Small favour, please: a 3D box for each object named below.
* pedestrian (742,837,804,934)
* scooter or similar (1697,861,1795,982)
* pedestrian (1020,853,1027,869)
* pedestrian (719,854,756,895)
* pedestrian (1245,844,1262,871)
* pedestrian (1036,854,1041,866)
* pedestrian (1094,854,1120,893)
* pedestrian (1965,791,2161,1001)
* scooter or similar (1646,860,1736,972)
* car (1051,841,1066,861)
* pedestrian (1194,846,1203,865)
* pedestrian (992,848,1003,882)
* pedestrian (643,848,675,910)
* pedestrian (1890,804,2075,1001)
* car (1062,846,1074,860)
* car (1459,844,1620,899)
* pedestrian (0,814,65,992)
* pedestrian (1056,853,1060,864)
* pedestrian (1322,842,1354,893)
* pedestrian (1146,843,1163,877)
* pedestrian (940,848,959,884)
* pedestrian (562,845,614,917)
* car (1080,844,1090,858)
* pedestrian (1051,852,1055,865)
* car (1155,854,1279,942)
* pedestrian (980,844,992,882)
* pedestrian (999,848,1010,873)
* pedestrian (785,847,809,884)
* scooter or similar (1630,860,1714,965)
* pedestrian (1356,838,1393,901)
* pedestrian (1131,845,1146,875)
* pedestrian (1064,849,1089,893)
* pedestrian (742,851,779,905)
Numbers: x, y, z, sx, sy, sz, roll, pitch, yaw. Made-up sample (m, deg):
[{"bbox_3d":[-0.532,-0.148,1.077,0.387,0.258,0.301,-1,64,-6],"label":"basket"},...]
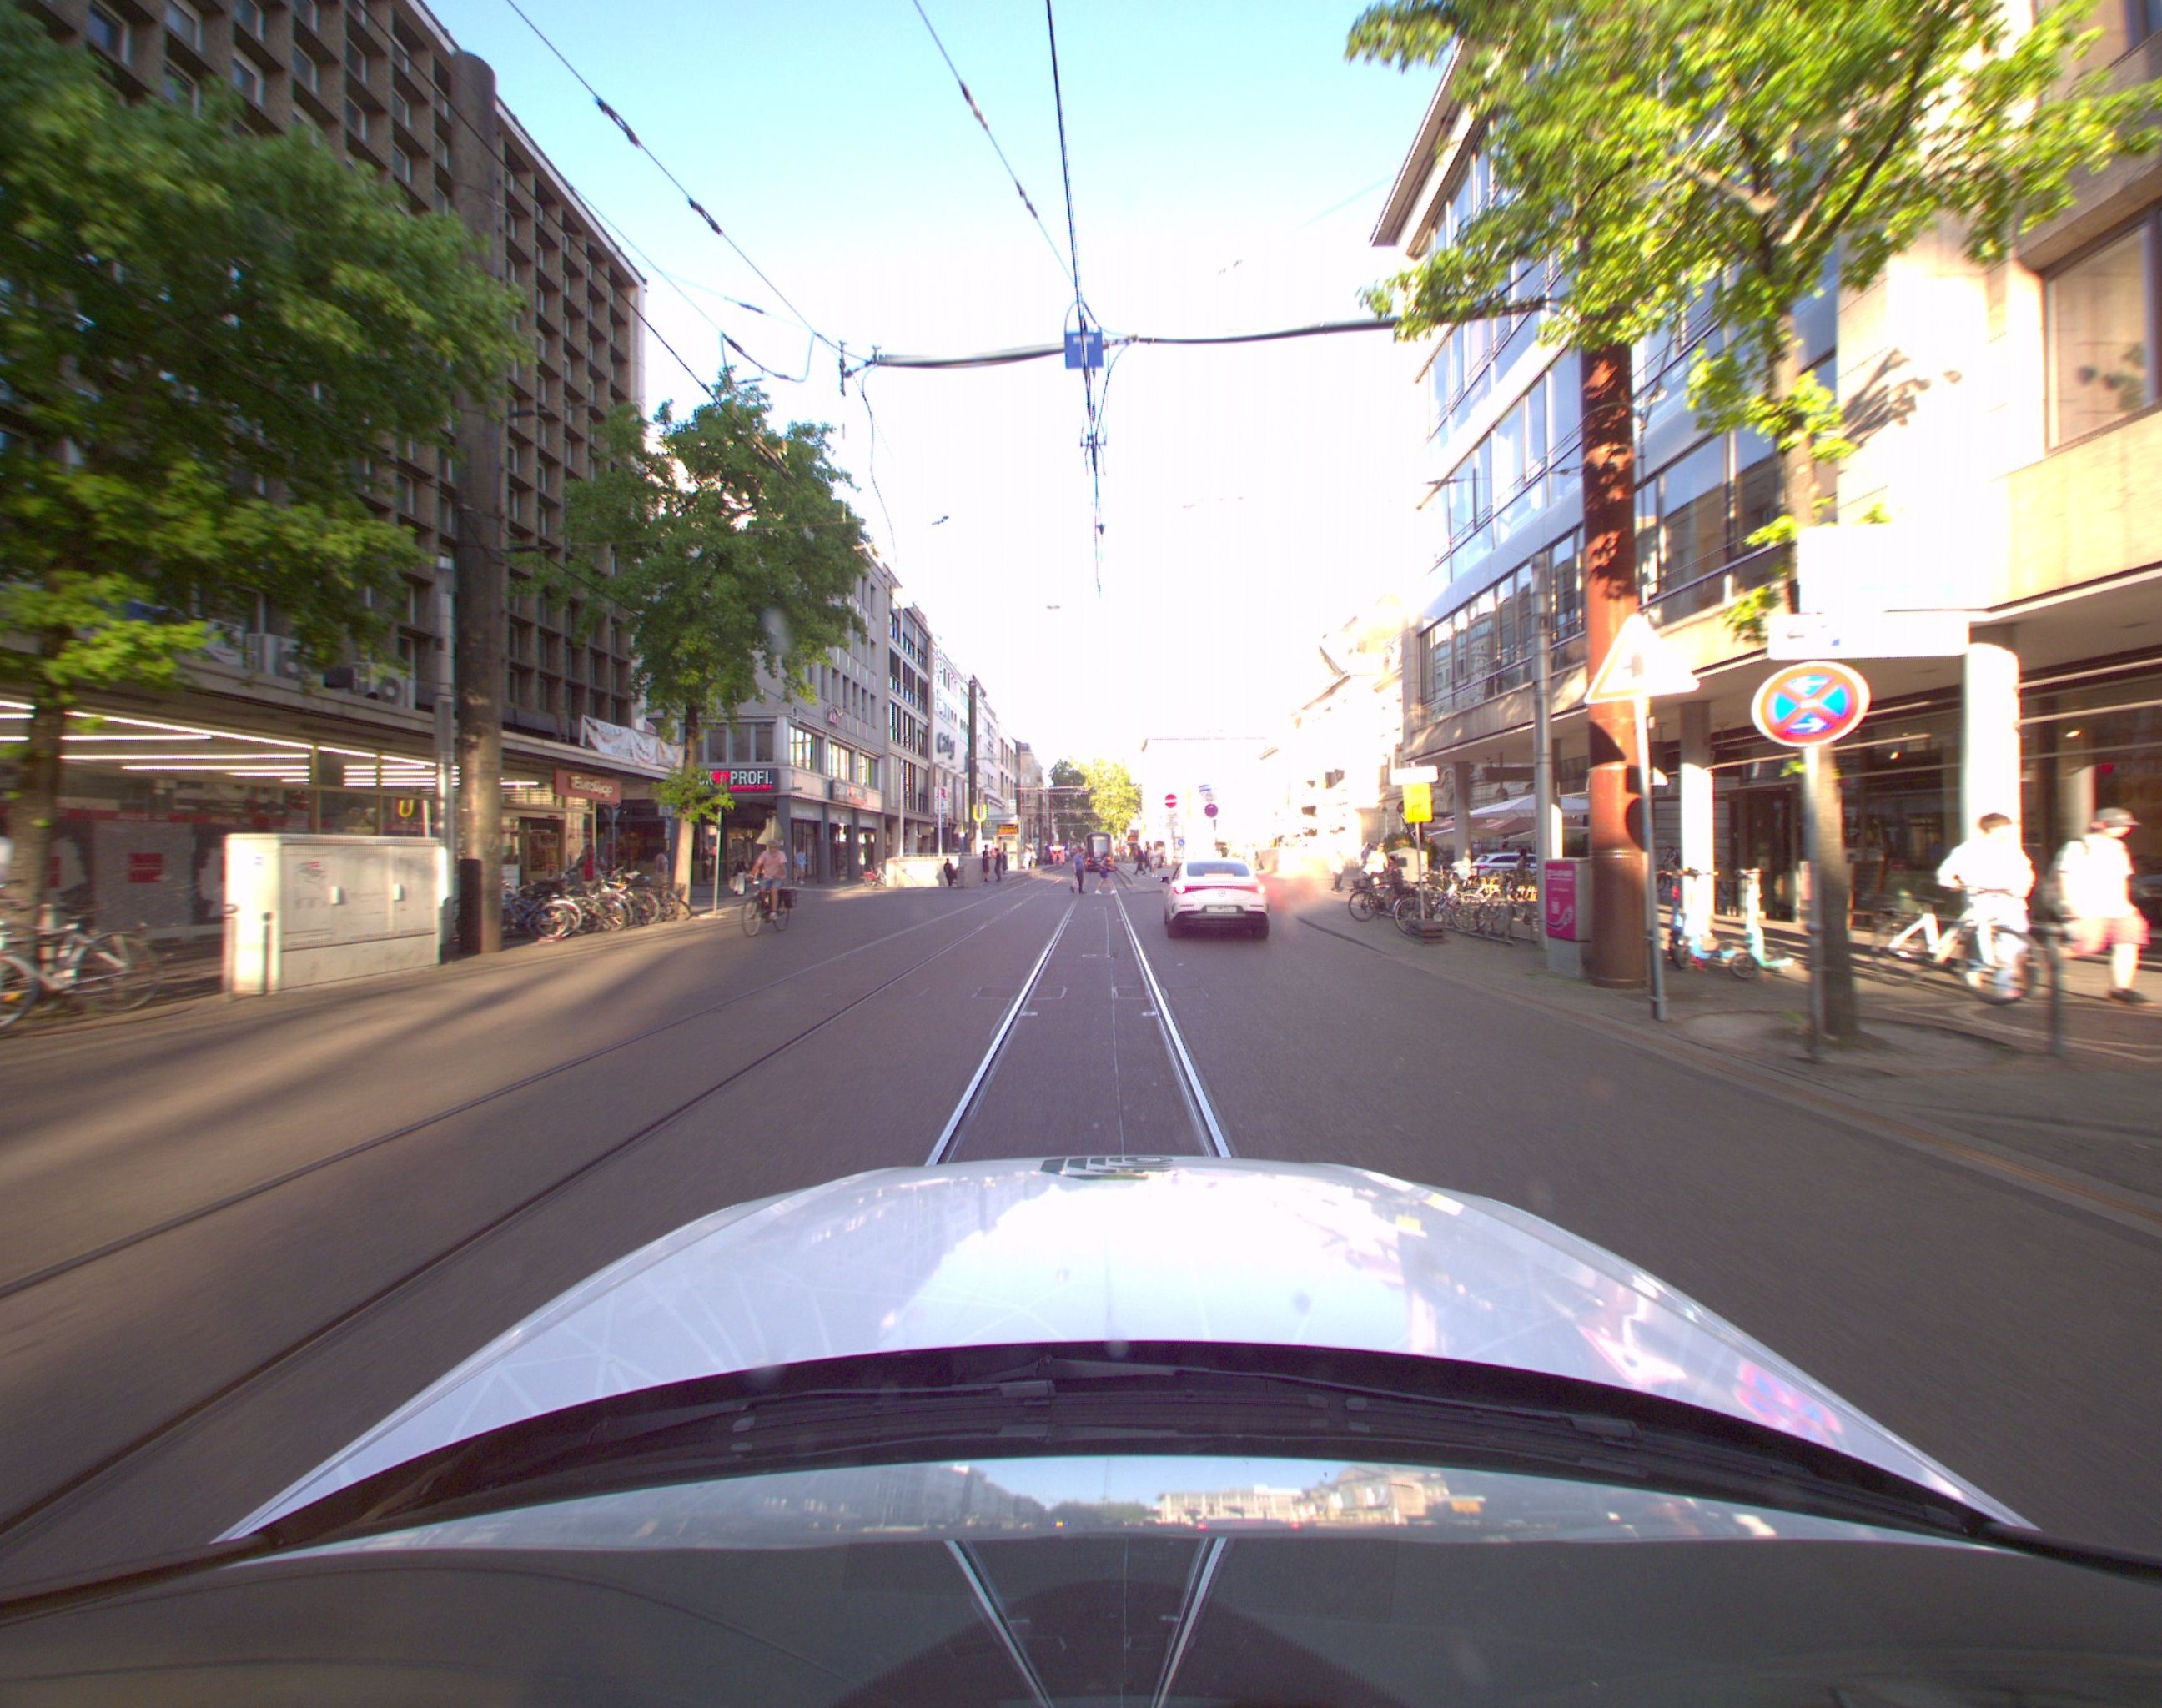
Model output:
[{"bbox_3d":[-5.826,0.581,15.431,0.797,1.782,0.849,1,0,0],"label":"pedestrian"},{"bbox_3d":[7.442,0.725,9.131,0.491,1.277,0.658,-2,0,-10],"label":"scooter or similar"},{"bbox_3d":[-5.746,0.662,81.042,0.658,1.599,0.573,-1,0,0],"label":"pedestrian"},{"bbox_3d":[-13.530,0.784,32.077,0.968,1.562,1.020,-1,0,40],"label":"pedestrian"},{"bbox_3d":[10.841,0.207,51.254,0.815,1.685,0.804,-2,0,1],"label":"pedestrian"},{"bbox_3d":[-6.064,0.877,115.257,0.605,1.630,0.413,-1,0,-15],"label":"pedestrian"},{"bbox_3d":[1.006,0.744,31.589,0.952,1.496,0.945,-1,0,2],"label":"pedestrian"},{"bbox_3d":[9.301,0.367,7.682,0.698,1.812,1.033,-4,0,1],"label":"pedestrian"},{"bbox_3d":[7.390,0.729,9.883,0.527,1.277,0.658,-2,0,-10],"label":"scooter or similar"},{"bbox_3d":[-3.493,-0.446,125.757,1.986,2.897,5.277,-1,0,2],"label":"car"},{"bbox_3d":[10.822,0.145,74.734,0.724,1.785,0.708,0,0,1],"label":"pedestrian"},{"bbox_3d":[-4.239,0.557,41.449,0.518,1.760,0.550,-1,0,-4],"label":"pedestrian"},{"bbox_3d":[-12.243,0.705,23.606,0.728,1.761,0.810,-1,0,-34],"label":"pedestrian"},{"bbox_3d":[8.592,0.441,7.800,0.896,1.744,0.690,-4,0,0],"label":"pedestrian"},{"bbox_3d":[-2.304,-0.123,144.533,1.902,2.461,5.277,-1,0,2],"label":"car"},{"bbox_3d":[13.251,0.491,23.659,3.794,1.473,1.647,-1,0,-4],"label":"car"},{"bbox_3d":[-11.018,0.489,8.215,0.789,1.766,0.533,-1,0,-23],"label":"pedestrian"},{"bbox_3d":[-3.373,0.700,118.722,0.602,1.630,0.531,-1,0,1],"label":"pedestrian"},{"bbox_3d":[9.297,0.497,29.461,0.838,1.785,0.804,-2,0,1],"label":"pedestrian"},{"bbox_3d":[3.792,0.296,41.952,0.744,1.698,0.840,-1,0,-1],"label":"pedestrian"},{"bbox_3d":[-6.292,0.572,39.014,0.780,1.717,0.840,-1,0,-2],"label":"pedestrian"},{"bbox_3d":[-12.278,0.657,20.299,0.813,1.761,0.779,-1,0,-1],"label":"pedestrian"},{"bbox_3d":[0.905,-0.603,176.548,2.091,2.897,5.277,-1,0,2],"label":"car"},{"bbox_3d":[-3.629,0.569,105.559,0.412,1.630,0.606,-1,0,2],"label":"pedestrian"},{"bbox_3d":[2.497,0.749,15.918,1.850,1.455,4.176,0,0,1],"label":"car"},{"bbox_3d":[-4.808,0.452,41.393,0.570,1.929,0.540,-1,0,-4],"label":"pedestrian"},{"bbox_3d":[-4.762,0.374,50.890,0.613,1.545,0.650,-1,0,-1],"label":"pedestrian"},{"bbox_3d":[-13.672,0.546,39.204,0.819,1.706,0.980,-1,0,-1],"label":"pedestrian"},{"bbox_3d":[7.609,0.732,10.510,0.527,1.277,0.658,-2,0,-10],"label":"scooter or similar"},{"bbox_3d":[8.494,0.439,23.565,0.746,1.785,0.767,-2,0,1],"label":"pedestrian"},{"bbox_3d":[3.347,0.342,47.068,0.834,1.662,0.786,-1,0,3],"label":"pedestrian"},{"bbox_3d":[-0.165,0.646,31.929,0.901,1.698,0.849,-1,0,2],"label":"pedestrian"},{"bbox_3d":[-9.922,0.736,25.221,0.747,1.623,0.980,-1,0,-1],"label":"pedestrian"}]
